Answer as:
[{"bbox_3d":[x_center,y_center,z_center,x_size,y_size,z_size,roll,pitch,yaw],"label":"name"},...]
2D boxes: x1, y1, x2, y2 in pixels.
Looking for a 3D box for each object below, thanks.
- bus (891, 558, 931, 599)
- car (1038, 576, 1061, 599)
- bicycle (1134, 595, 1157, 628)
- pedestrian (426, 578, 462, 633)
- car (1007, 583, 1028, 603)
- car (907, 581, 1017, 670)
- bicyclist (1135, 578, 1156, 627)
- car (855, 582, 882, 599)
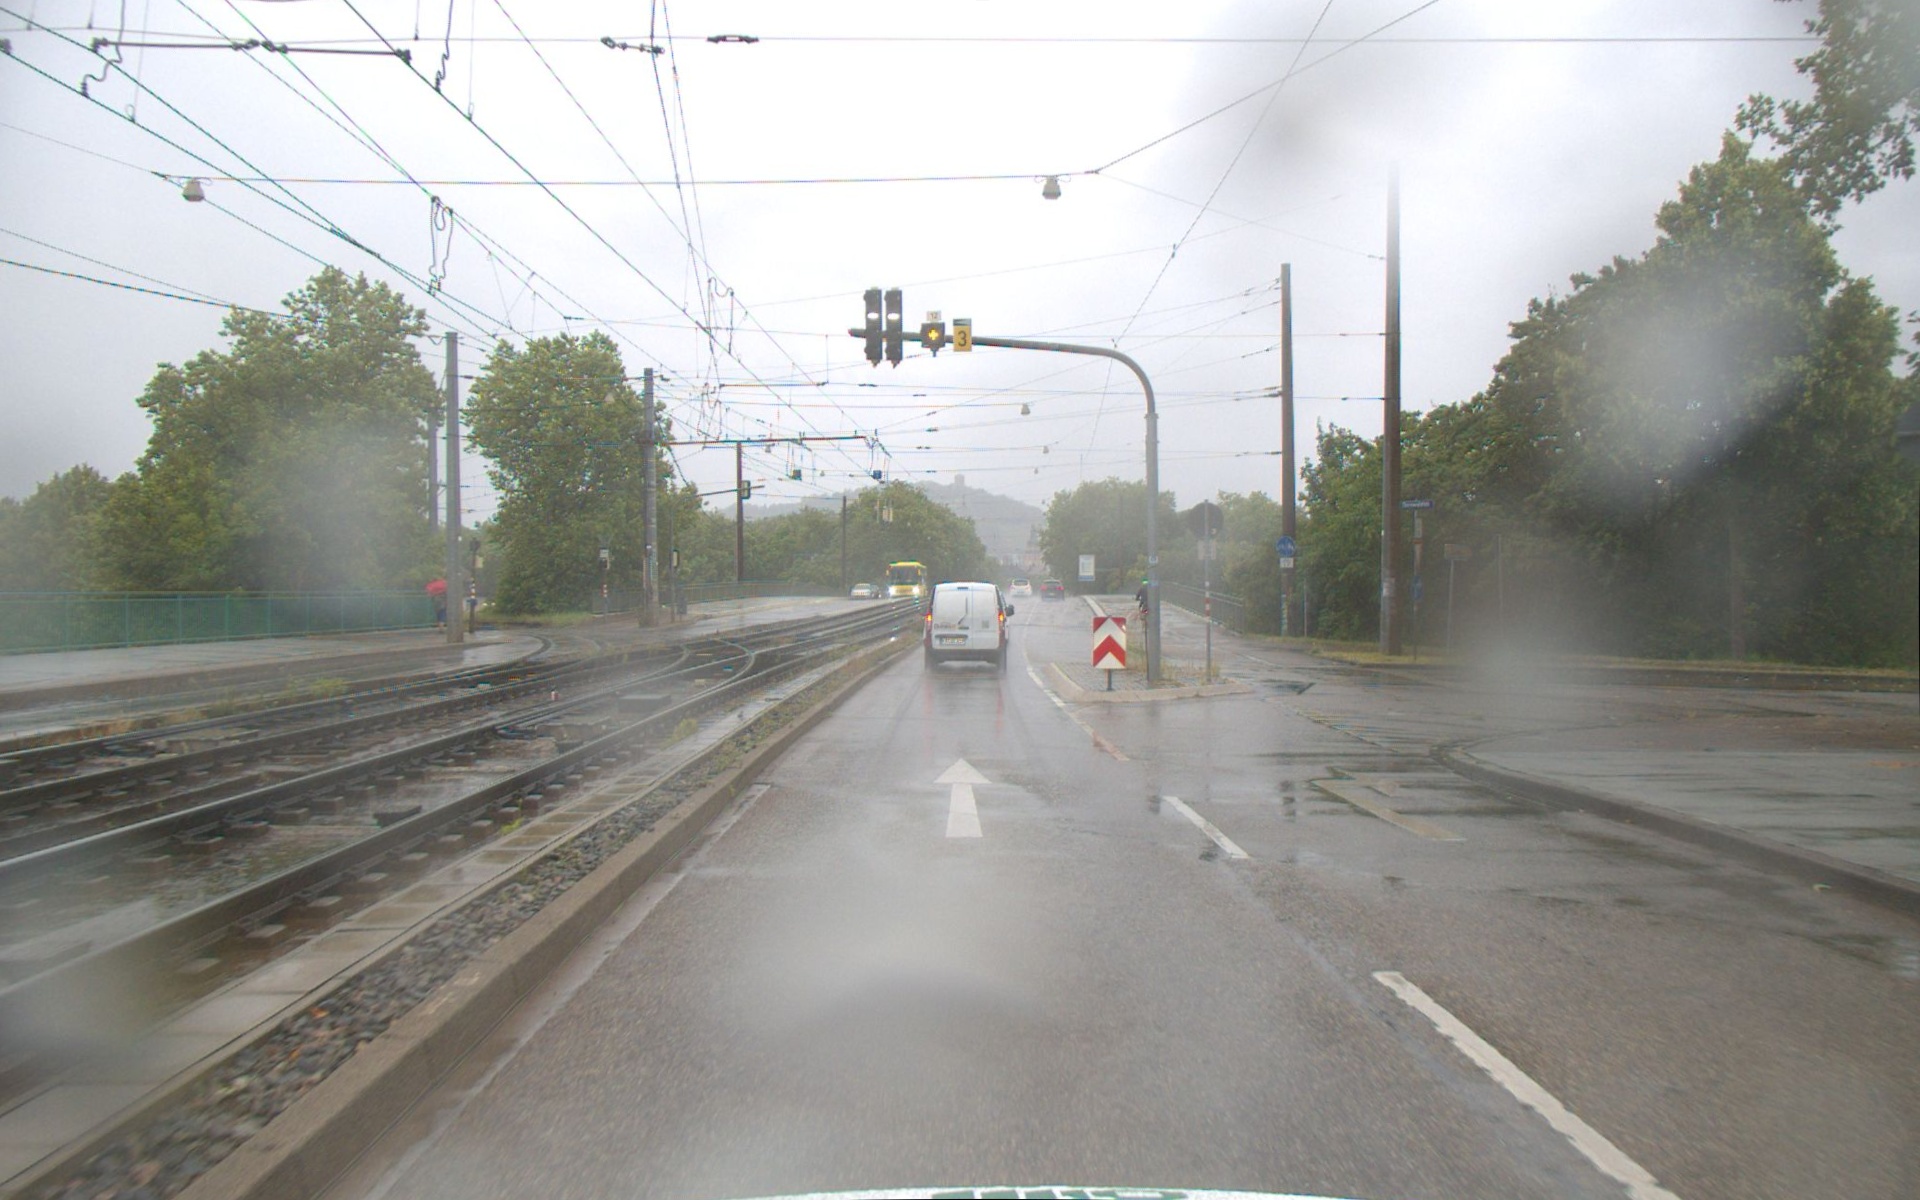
[{"bbox_3d":[-4.396,-2.011,150.333,2.652,3.398,10.999,-2,2,3],"label":"bus"},{"bbox_3d":[6.321,-0.855,117.126,1.421,1.526,2.981,1,0,-1],"label":"car"},{"bbox_3d":[6.862,0.411,61.176,0.708,1.148,2.169,1,0,3],"label":"bicycle"},{"bbox_3d":[-17.852,0.194,57.210,0.846,1.850,1.043,1,-1,1],"label":"pedestrian"},{"bbox_3d":[4.438,-0.542,128.085,1.421,1.526,2.981,1,0,-1],"label":"car"},{"bbox_3d":[0.109,0.526,35.252,1.951,1.756,4.002,1,0,5],"label":"car"},{"bbox_3d":[6.861,0.097,61.150,0.710,1.794,0.949,1,-1,3],"label":"bicyclist"},{"bbox_3d":[-7.969,-0.846,145.040,1.894,1.252,4.102,-2,2,3],"label":"car"}]
